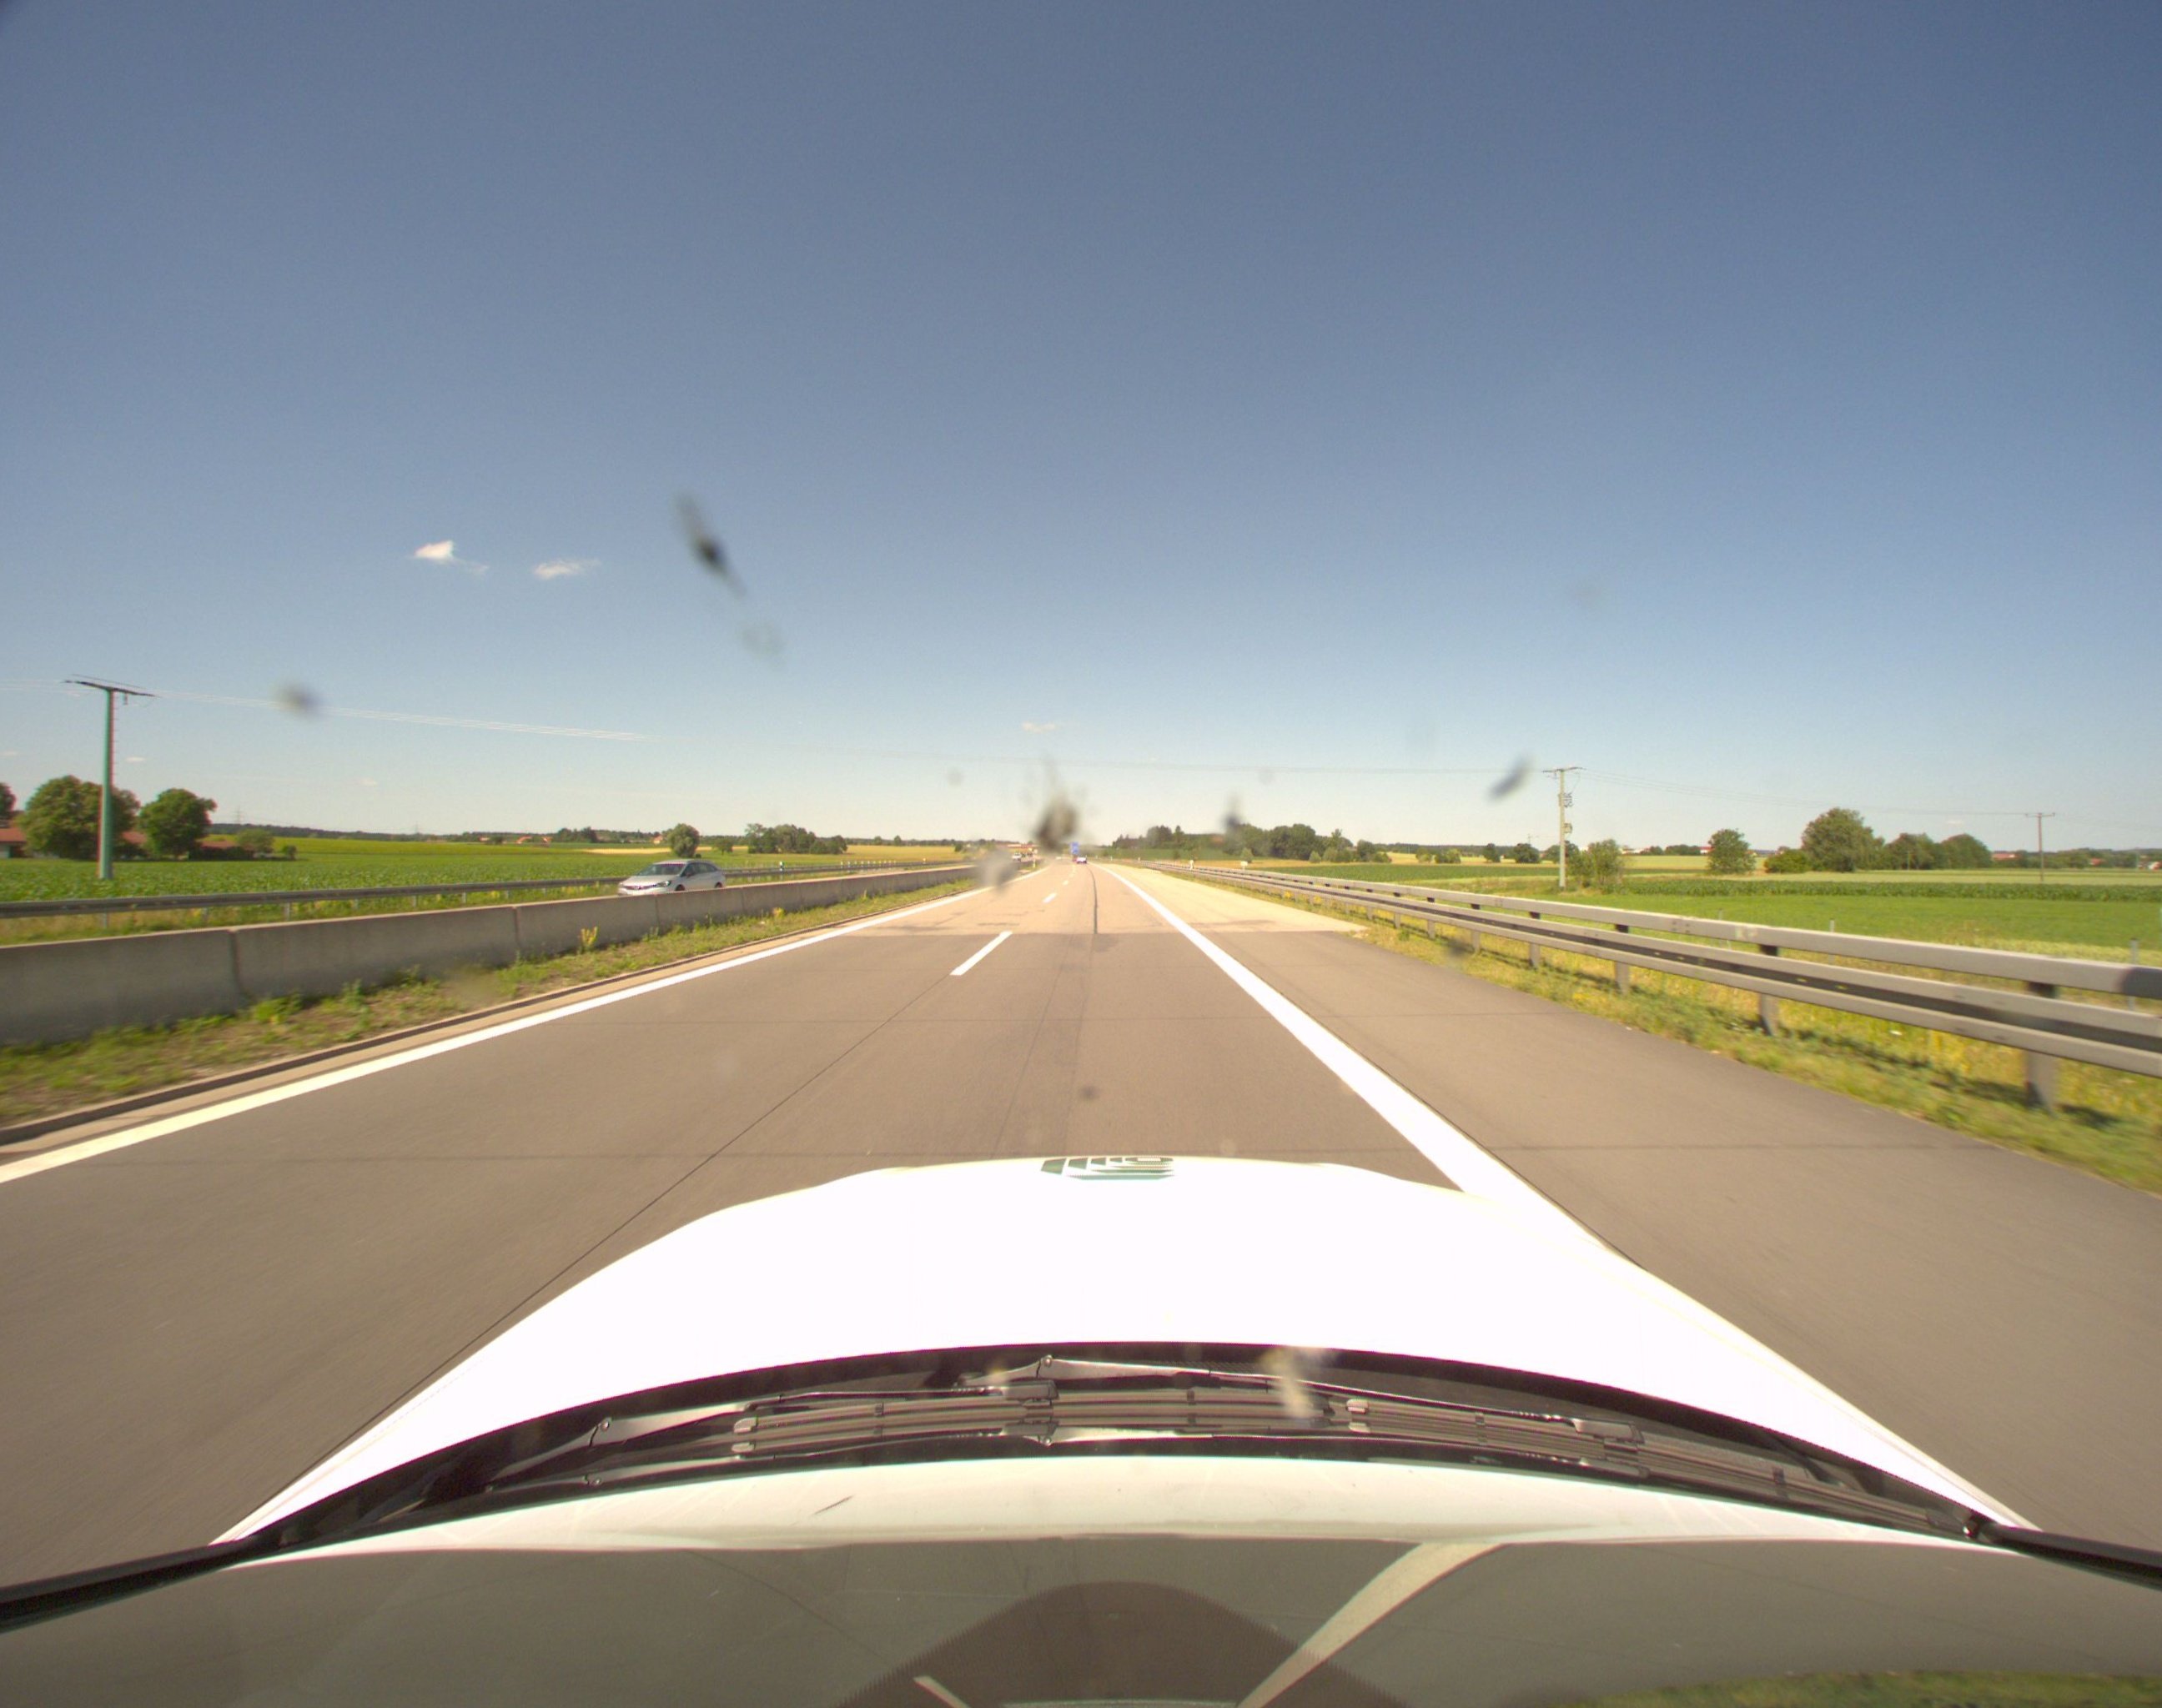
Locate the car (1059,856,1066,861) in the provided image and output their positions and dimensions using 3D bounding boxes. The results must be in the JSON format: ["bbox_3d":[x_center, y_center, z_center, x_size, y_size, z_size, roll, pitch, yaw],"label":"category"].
[{"bbox_3d":[-5.610,1.325,242.818,1.988,1.731,4.866,0,0,-2],"label":"car"}]

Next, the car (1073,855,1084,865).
[{"bbox_3d":[-0.527,1.156,155.665,1.989,1.731,4.864,0,0,-3],"label":"car"}]

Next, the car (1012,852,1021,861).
[{"bbox_3d":[-15.617,0.599,197.049,1.991,2.014,5.602,0,-1,-5],"label":"car"}]

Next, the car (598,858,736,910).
[{"bbox_3d":[-13.715,0.941,27.363,1.986,1.579,4.897,1,-1,1],"label":"car"}]

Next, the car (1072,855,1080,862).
[{"bbox_3d":[-1.250,1.180,206.606,1.989,1.731,4.864,0,0,-2],"label":"car"}]

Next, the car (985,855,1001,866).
[{"bbox_3d":[-12.814,0.989,119.026,1.853,1.514,4.585,1,0,0],"label":"car"}]
